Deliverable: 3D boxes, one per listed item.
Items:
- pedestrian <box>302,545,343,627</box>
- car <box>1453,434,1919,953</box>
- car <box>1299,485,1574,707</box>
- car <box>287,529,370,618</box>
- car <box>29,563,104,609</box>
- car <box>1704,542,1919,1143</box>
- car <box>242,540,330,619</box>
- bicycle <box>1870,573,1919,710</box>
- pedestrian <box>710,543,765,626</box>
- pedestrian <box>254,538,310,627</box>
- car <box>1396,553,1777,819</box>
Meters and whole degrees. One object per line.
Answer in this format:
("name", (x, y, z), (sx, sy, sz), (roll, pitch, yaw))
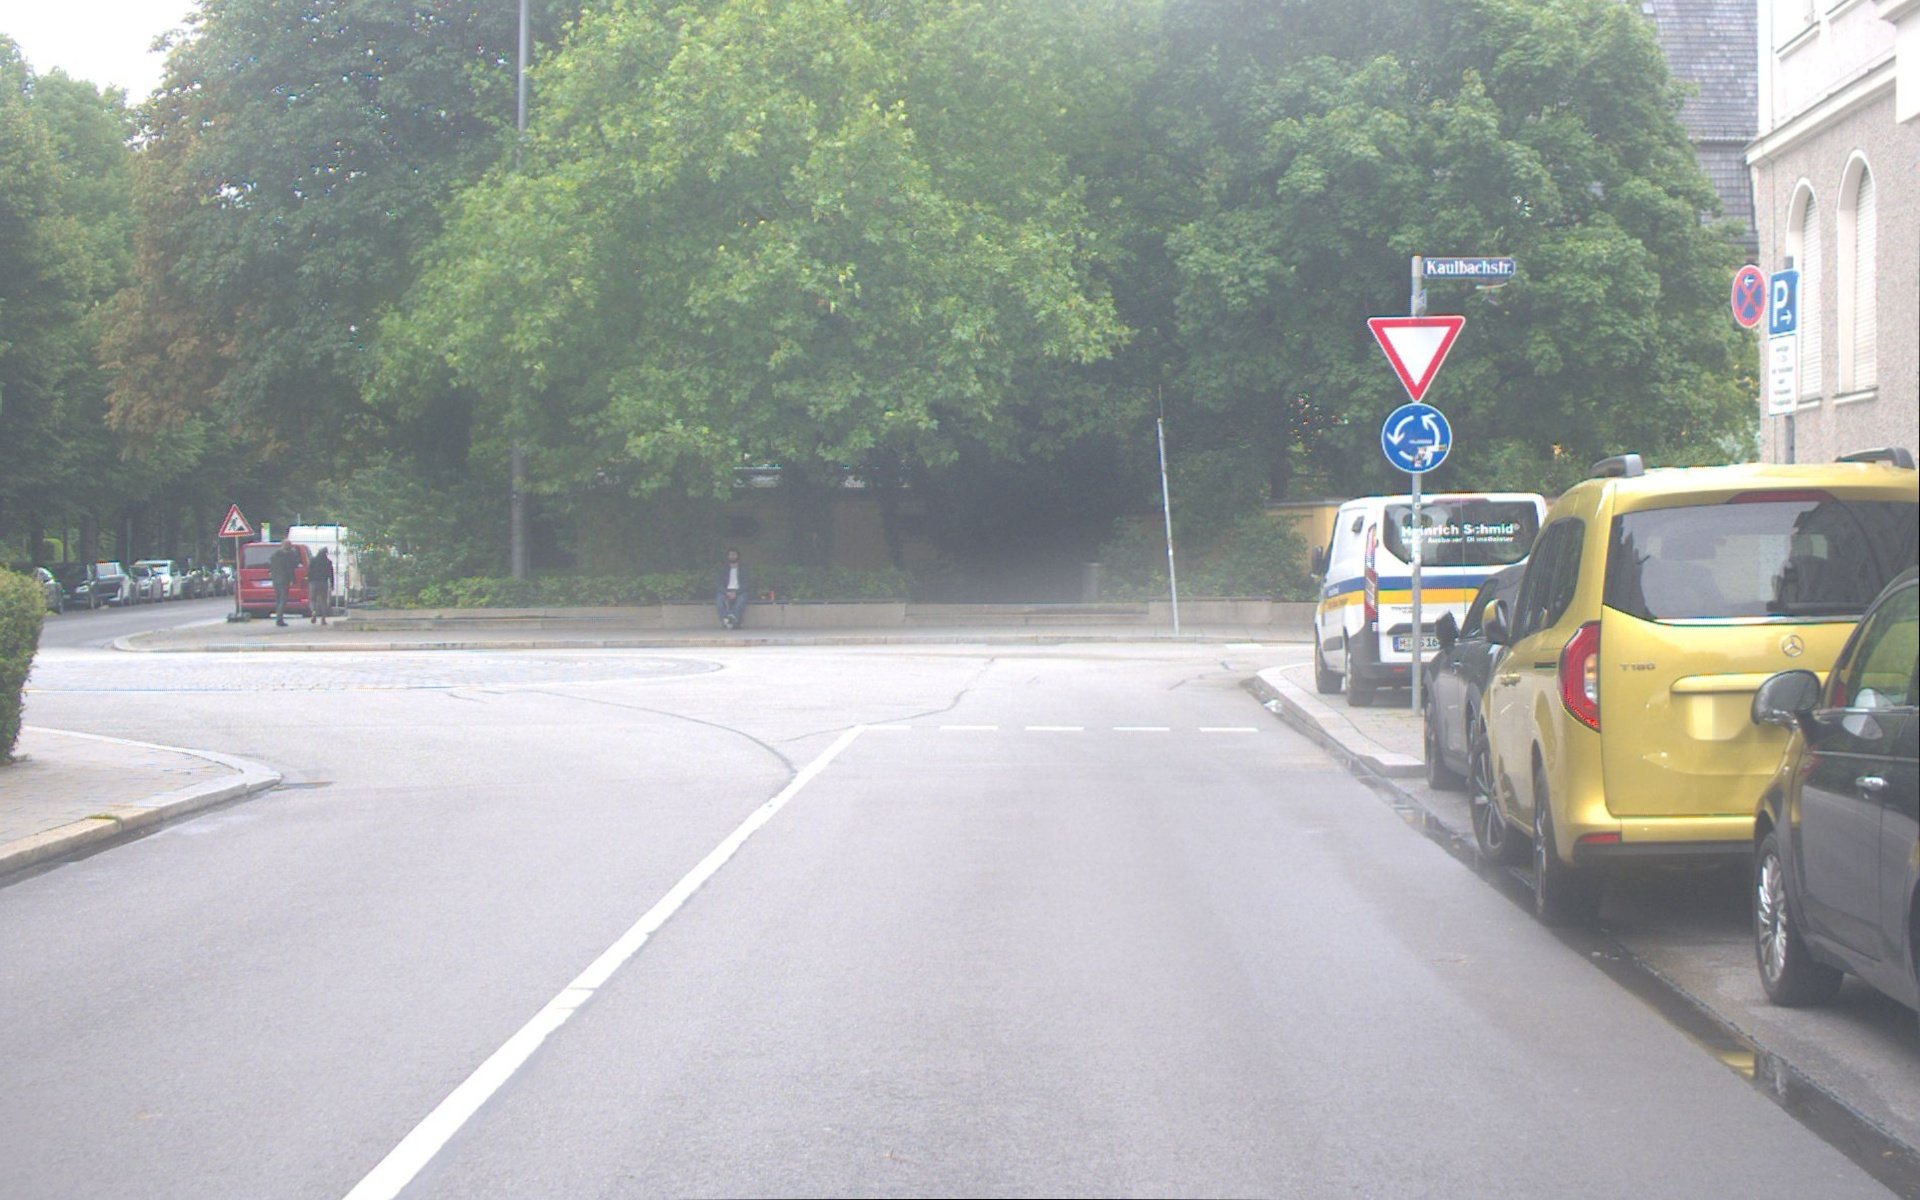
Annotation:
("pedestrian", (-13.162, -0.295, 71.009), (0.633, 1.661, 0.697), (-1, 1, -28))
("car", (3.318, 0.312, 14.988), (1.994, 1.911, 4.570), (-1, 1, 4))
("car", (4.492, -0.083, 33.193), (1.938, 1.915, 5.374), (-2, 1, 1))
("car", (-18.734, -0.803, 102.106), (1.993, 2.549, 5.431), (-1, 1, -6))
("car", (-29.313, -0.475, 112.870), (1.993, 1.481, 4.130), (0, 1, -9))
("car", (3.276, 0.592, 9.735), (1.633, 1.509, 3.885), (0, 1, 2))
("car", (-16.955, -0.537, 86.636), (1.911, 1.930, 4.970), (0, 1, -8))
("bicycle", (8.486, 0.343, 29.132), (0.839, 1.109, 2.757), (-4, 1, 2))
("pedestrian", (-3.654, -0.260, 56.426), (0.769, 1.352, 1.131), (0, 1, 3))
("pedestrian", (-14.054, -0.364, 71.213), (0.820, 1.830, 0.952), (-1, 1, -33))
("car", (3.699, 0.448, 20.877), (1.712, 1.440, 3.827), (-1, 1, 2))
